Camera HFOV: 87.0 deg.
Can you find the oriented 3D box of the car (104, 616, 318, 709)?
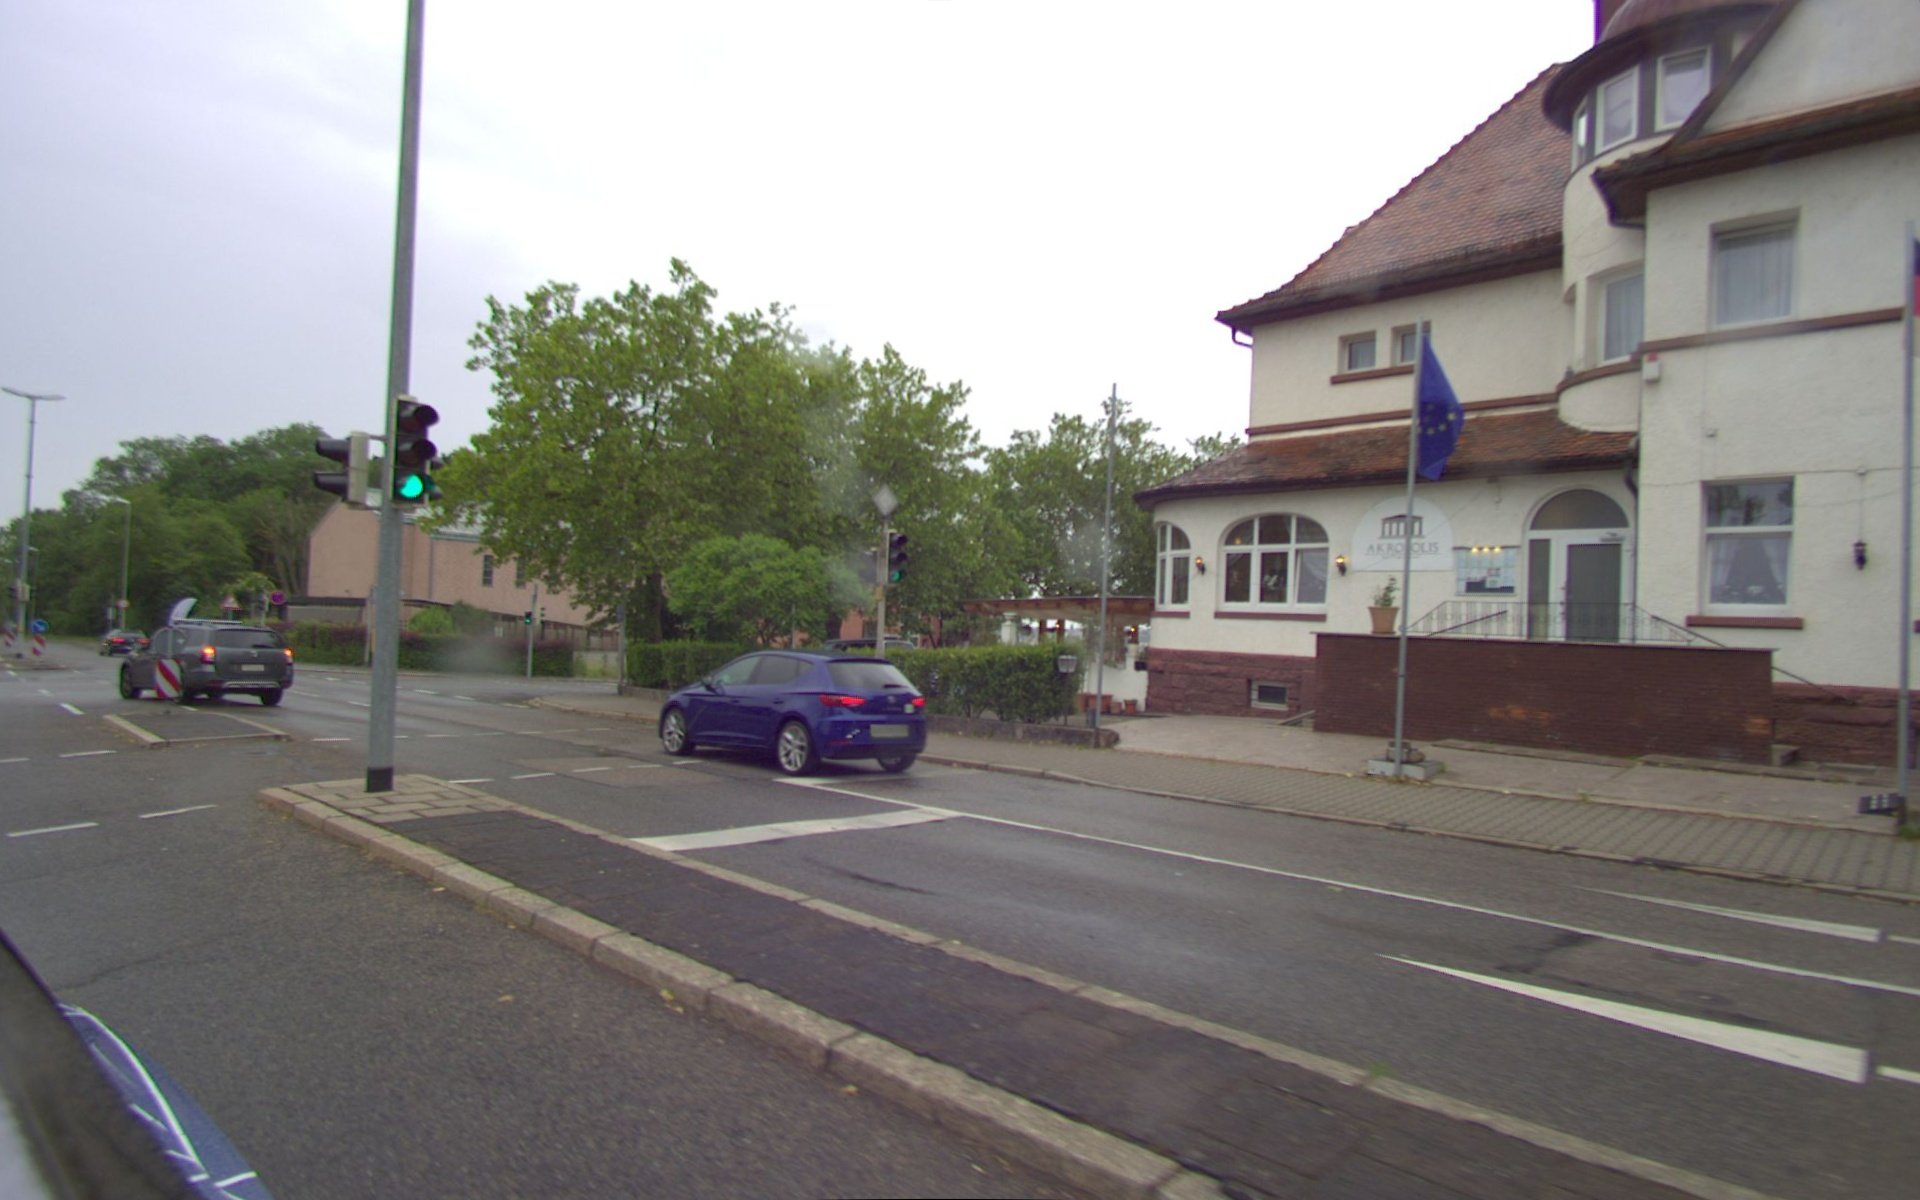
[{"bbox_3d":[-15.013,1.227,20.242,4.290,1.674,1.978,-1,-4,33],"label":"car"}]

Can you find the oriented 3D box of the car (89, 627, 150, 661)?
[{"bbox_3d":[-45.093,2.359,54.254,4.305,1.674,1.971,-2,-5,44],"label":"car"}]

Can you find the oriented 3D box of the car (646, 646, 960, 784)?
[{"bbox_3d":[-2.090,1.346,12.699,4.107,1.431,1.747,-2,-7,45],"label":"car"}]
